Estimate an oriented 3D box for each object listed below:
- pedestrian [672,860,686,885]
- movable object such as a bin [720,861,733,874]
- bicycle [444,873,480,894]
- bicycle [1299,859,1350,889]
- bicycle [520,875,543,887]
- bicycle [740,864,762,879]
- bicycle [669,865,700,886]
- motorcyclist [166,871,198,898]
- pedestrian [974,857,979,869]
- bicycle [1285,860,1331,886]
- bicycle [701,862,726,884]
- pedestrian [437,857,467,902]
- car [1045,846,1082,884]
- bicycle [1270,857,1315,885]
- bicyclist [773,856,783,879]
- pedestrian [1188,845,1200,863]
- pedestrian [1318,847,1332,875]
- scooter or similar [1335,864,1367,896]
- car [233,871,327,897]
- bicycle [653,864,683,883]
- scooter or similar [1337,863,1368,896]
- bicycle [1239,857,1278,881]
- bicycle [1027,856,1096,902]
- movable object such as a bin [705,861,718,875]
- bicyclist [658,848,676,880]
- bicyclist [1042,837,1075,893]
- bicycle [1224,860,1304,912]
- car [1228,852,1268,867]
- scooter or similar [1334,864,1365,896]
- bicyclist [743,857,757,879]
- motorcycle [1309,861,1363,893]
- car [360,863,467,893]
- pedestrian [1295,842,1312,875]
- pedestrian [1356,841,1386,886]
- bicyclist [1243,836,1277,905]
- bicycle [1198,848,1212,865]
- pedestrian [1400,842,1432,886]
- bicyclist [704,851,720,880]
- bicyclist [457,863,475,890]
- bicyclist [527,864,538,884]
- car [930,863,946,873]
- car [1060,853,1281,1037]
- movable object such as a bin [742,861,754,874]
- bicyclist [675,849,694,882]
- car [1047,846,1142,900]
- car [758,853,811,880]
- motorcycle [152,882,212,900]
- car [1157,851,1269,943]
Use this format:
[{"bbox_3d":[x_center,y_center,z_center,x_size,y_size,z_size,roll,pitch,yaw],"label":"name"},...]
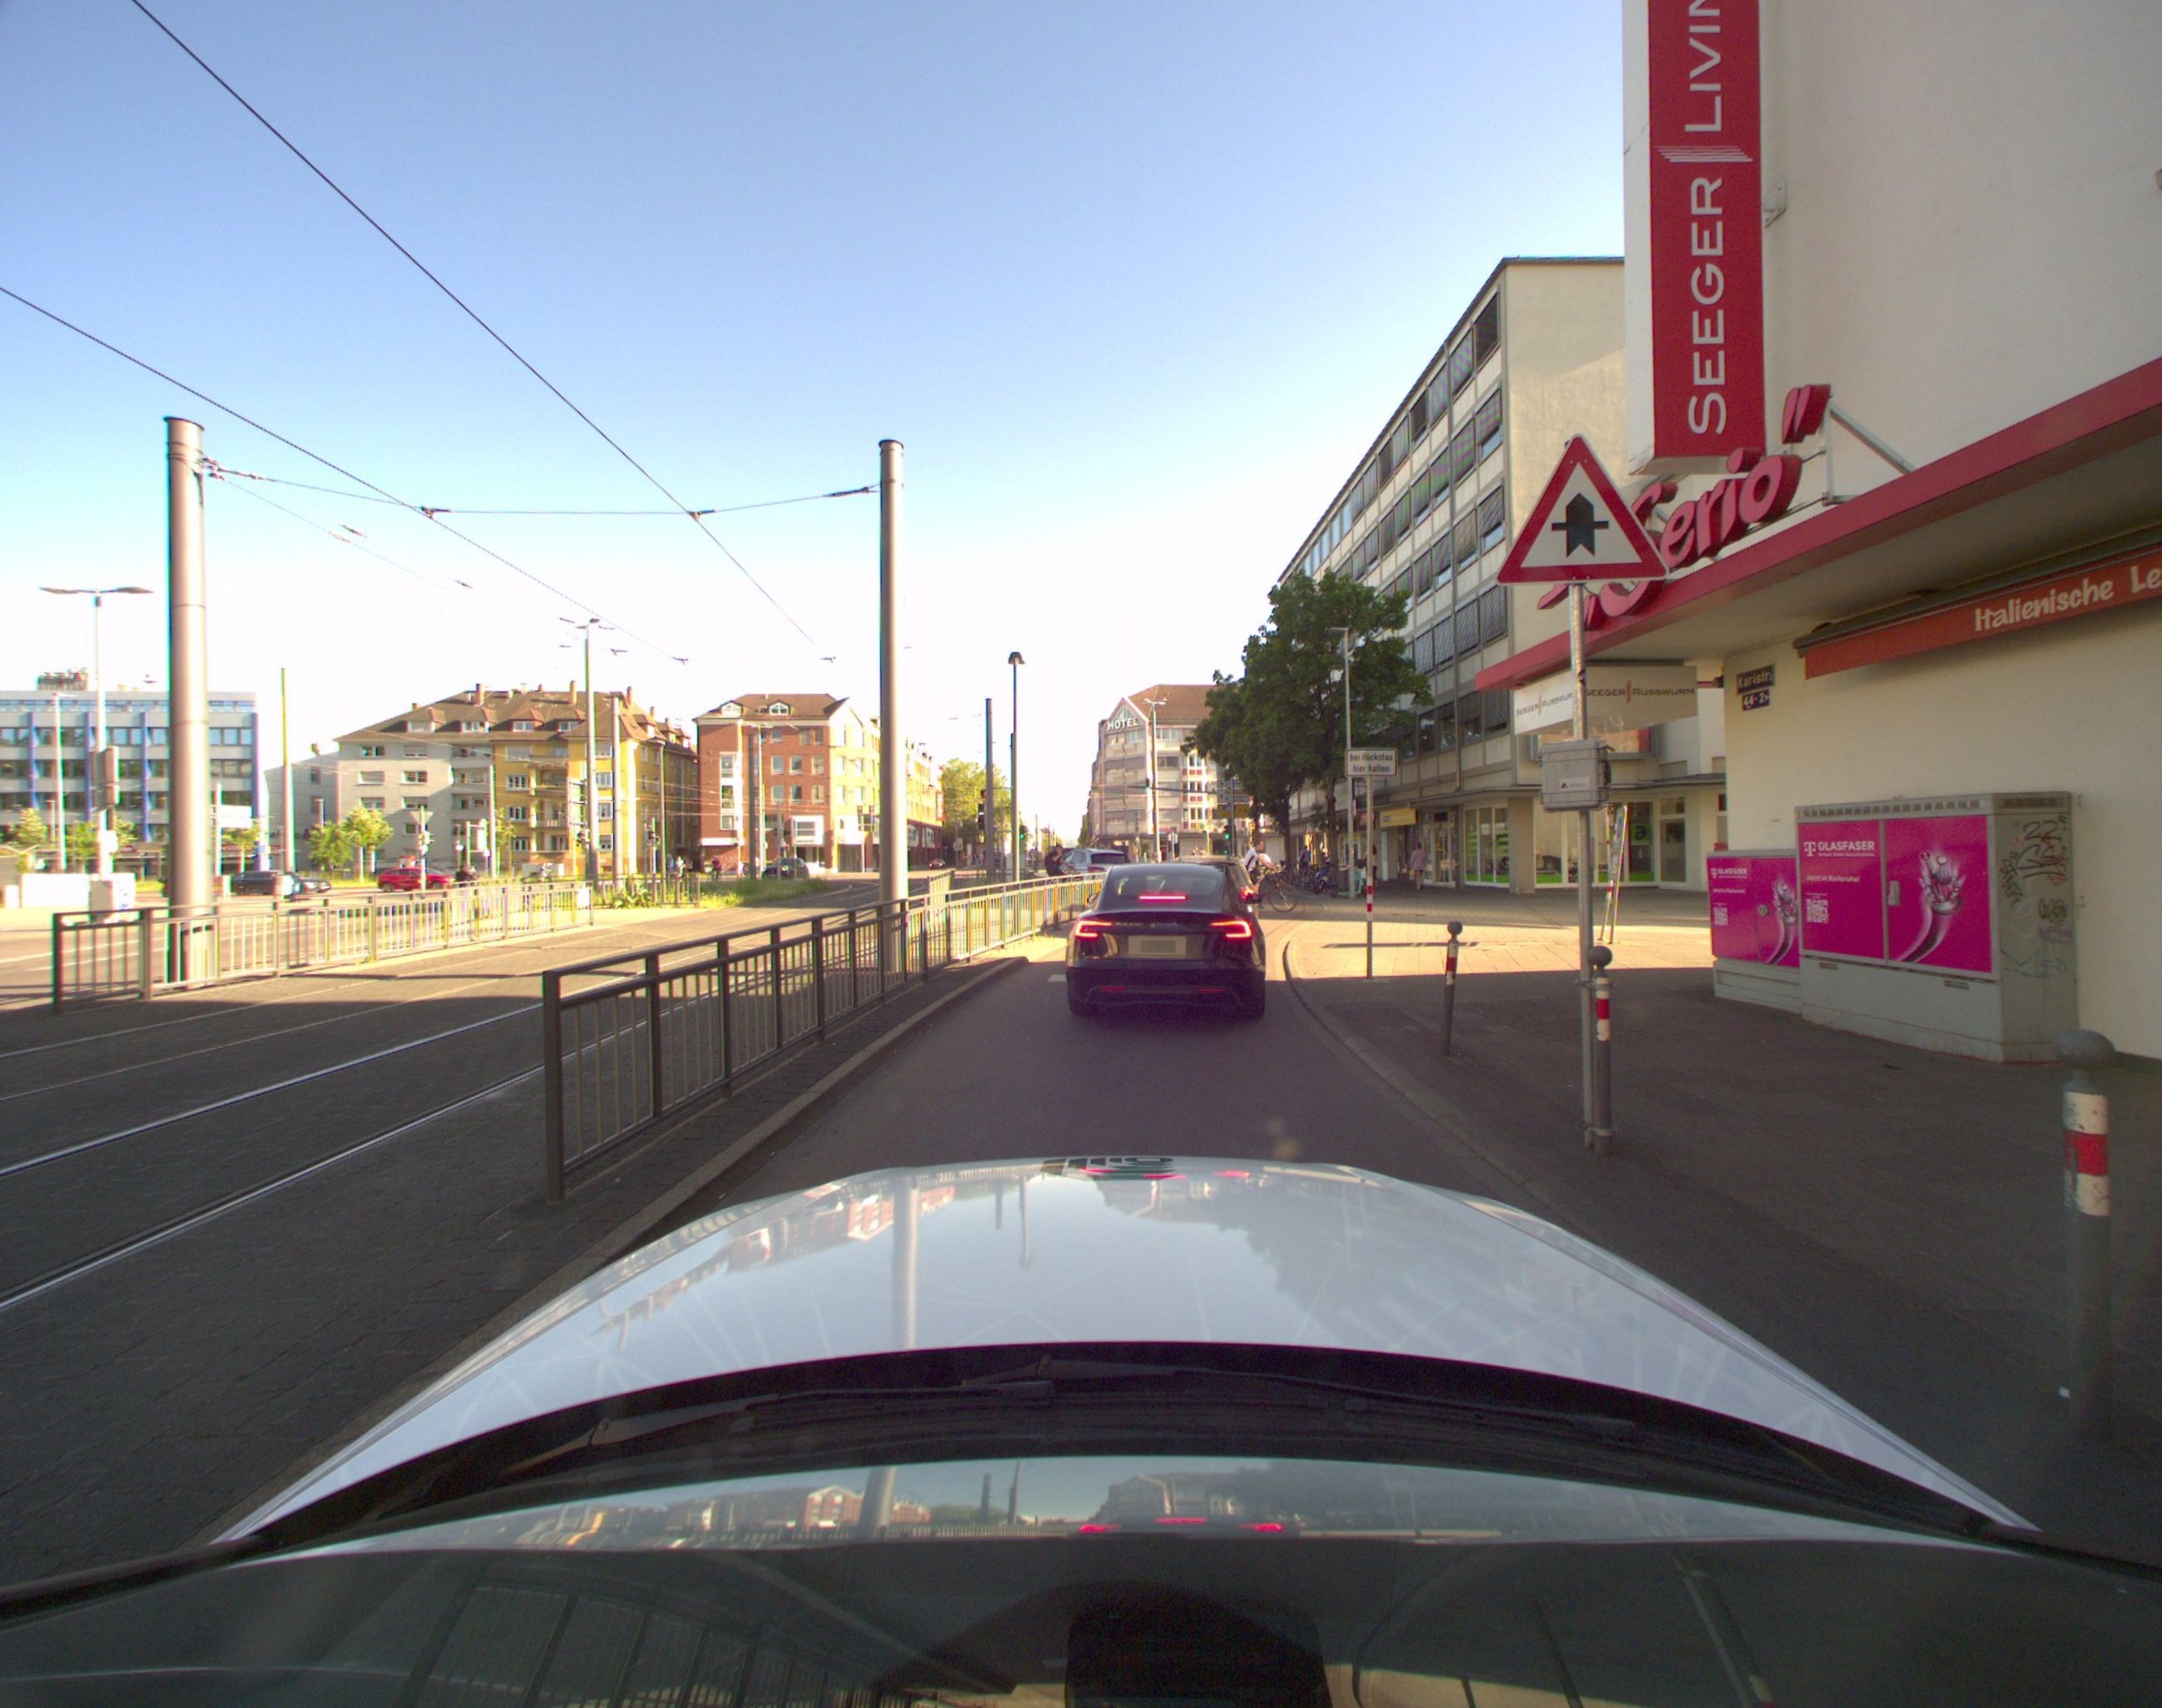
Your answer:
[{"bbox_3d":[-27.773,1.287,56.272,0.624,1.688,0.703,0,1,-11],"label":"pedestrian"},{"bbox_3d":[-38.282,1.468,87.923,0.995,1.437,1.093,0,-1,-8],"label":"movable object such as a bin"},{"bbox_3d":[-34.901,1.663,45.941,1.497,1.133,0.609,0,-1,-13],"label":"bicycle"},{"bbox_3d":[9.351,0.774,31.249,1.850,1.056,0.398,-2,0,-10],"label":"bicycle"},{"bbox_3d":[-35.208,1.741,52.164,1.174,0.764,0.318,0,-1,-15],"label":"bicycle"},{"bbox_3d":[-22.442,1.163,55.401,0.647,1.013,1.887,0,-1,4],"label":"bicycle"},{"bbox_3d":[-19.949,1.085,41.034,0.527,1.013,1.899,0,-1,4],"label":"bicycle"},{"bbox_3d":[-51.766,1.749,46.887,0.919,1.524,0.781,0,-1,-5],"label":"motorcyclist"},{"bbox_3d":[-14.029,1.218,109.632,0.584,1.531,0.634,0,-1,-16],"label":"pedestrian"},{"bbox_3d":[9.260,0.774,33.250,1.758,1.057,0.459,0,-1,6],"label":"bicycle"},{"bbox_3d":[-21.508,1.093,47.700,0.527,1.214,1.887,0,-1,4],"label":"bicycle"},{"bbox_3d":[-27.612,1.099,35.763,0.716,1.934,0.802,-1,-1,22],"label":"pedestrian"},{"bbox_3d":[-0.763,0.502,37.112,1.568,1.618,3.782,0,-1,0],"label":"car"},{"bbox_3d":[9.167,0.747,35.289,1.805,1.151,0.435,-1,-1,-3],"label":"bicycle"},{"bbox_3d":[-21.692,0.938,58.382,0.589,1.649,0.802,0,-1,-14],"label":"bicyclist"},{"bbox_3d":[9.863,-0.013,71.356,0.780,1.576,0.864,0,1,-13],"label":"pedestrian"},{"bbox_3d":[12.830,0.369,42.873,0.640,1.422,0.623,-1,-1,12],"label":"pedestrian"},{"bbox_3d":[8.954,0.858,27.017,0.952,1.039,0.160,-1,0,4],"label":"scooter or similar"},{"bbox_3d":[-46.498,1.732,47.334,3.695,1.472,1.572,0,-1,-6],"label":"car"},{"bbox_3d":[-21.988,1.028,43.342,0.527,1.013,1.887,0,-1,4],"label":"bicycle"},{"bbox_3d":[8.939,0.844,26.819,0.959,1.043,0.160,-1,0,4],"label":"scooter or similar"},{"bbox_3d":[9.225,0.765,42.406,1.882,1.156,0.480,-2,-1,2],"label":"bicycle"},{"bbox_3d":[-0.526,0.660,22.406,1.831,1.212,0.635,0,-1,-29],"label":"bicycle"},{"bbox_3d":[-39.759,1.482,87.692,0.995,1.437,1.093,0,-1,-8],"label":"movable object such as a bin"},{"bbox_3d":[-21.995,0.511,43.248,0.518,1.673,0.771,0,-1,3],"label":"bicyclist"},{"bbox_3d":[-0.620,0.294,22.363,0.685,1.523,0.629,0,-1,-29],"label":"bicyclist"},{"bbox_3d":[4.435,0.768,19.774,1.814,1.212,0.582,0,-1,-1],"label":"bicycle"},{"bbox_3d":[17.640,0.602,86.237,3.832,1.432,1.801,-1,-2,-4],"label":"car"},{"bbox_3d":[8.968,0.869,27.217,0.959,1.027,0.160,-1,0,4],"label":"scooter or similar"},{"bbox_3d":[-22.458,0.962,55.232,0.661,1.454,0.731,0,-1,3],"label":"bicyclist"},{"bbox_3d":[9.107,0.808,29.112,1.781,1.130,0.504,0,-1,-1],"label":"motorcycle"},{"bbox_3d":[-39.416,1.395,48.169,4.548,1.509,1.777,-2,0,-9],"label":"car"},{"bbox_3d":[11.813,0.257,43.269,0.837,1.721,0.883,-1,-1,13],"label":"pedestrian"},{"bbox_3d":[11.158,0.379,31.369,0.840,1.707,0.880,0,-1,1],"label":"pedestrian"},{"bbox_3d":[4.343,0.394,19.796,0.679,1.631,0.578,0,-1,-1],"label":"bicyclist"},{"bbox_3d":[10.856,0.256,71.464,0.583,1.463,1.678,-1,0,-13],"label":"bicycle"},{"bbox_3d":[12.431,0.355,30.239,0.840,1.602,0.880,0,-1,1],"label":"pedestrian"},{"bbox_3d":[-21.524,0.696,47.524,0.518,1.673,0.771,0,-1,3],"label":"bicyclist"},{"bbox_3d":[-34.728,1.254,45.993,0.615,1.493,0.607,0,-1,-12],"label":"bicyclist"},{"bbox_3d":[-35.157,1.270,52.207,0.459,1.316,0.398,0,-1,-14],"label":"bicyclist"},{"bbox_3d":[-20.283,1.979,115.878,1.814,1.454,3.971,-2,0,-4],"label":"car"},{"bbox_3d":[0.910,0.740,8.601,1.782,1.450,3.946,0,1,5],"label":"car"},{"bbox_3d":[-35.997,1.441,88.036,0.995,1.437,1.093,0,-1,-8],"label":"movable object such as a bin"},{"bbox_3d":[-19.952,0.577,40.990,0.522,1.673,0.771,0,-1,3],"label":"bicyclist"},{"bbox_3d":[0.384,0.592,26.935,1.848,1.635,3.457,0,-1,-25],"label":"car"},{"bbox_3d":[-18.496,0.769,50.941,1.678,1.560,4.124,0,-1,2],"label":"car"},{"bbox_3d":[-51.747,2.100,46.890,2.355,0.984,0.790,0,-1,-6],"label":"motorcycle"},{"bbox_3d":[2.355,0.685,15.207,1.755,1.444,4.537,0,0,7],"label":"car"}]
